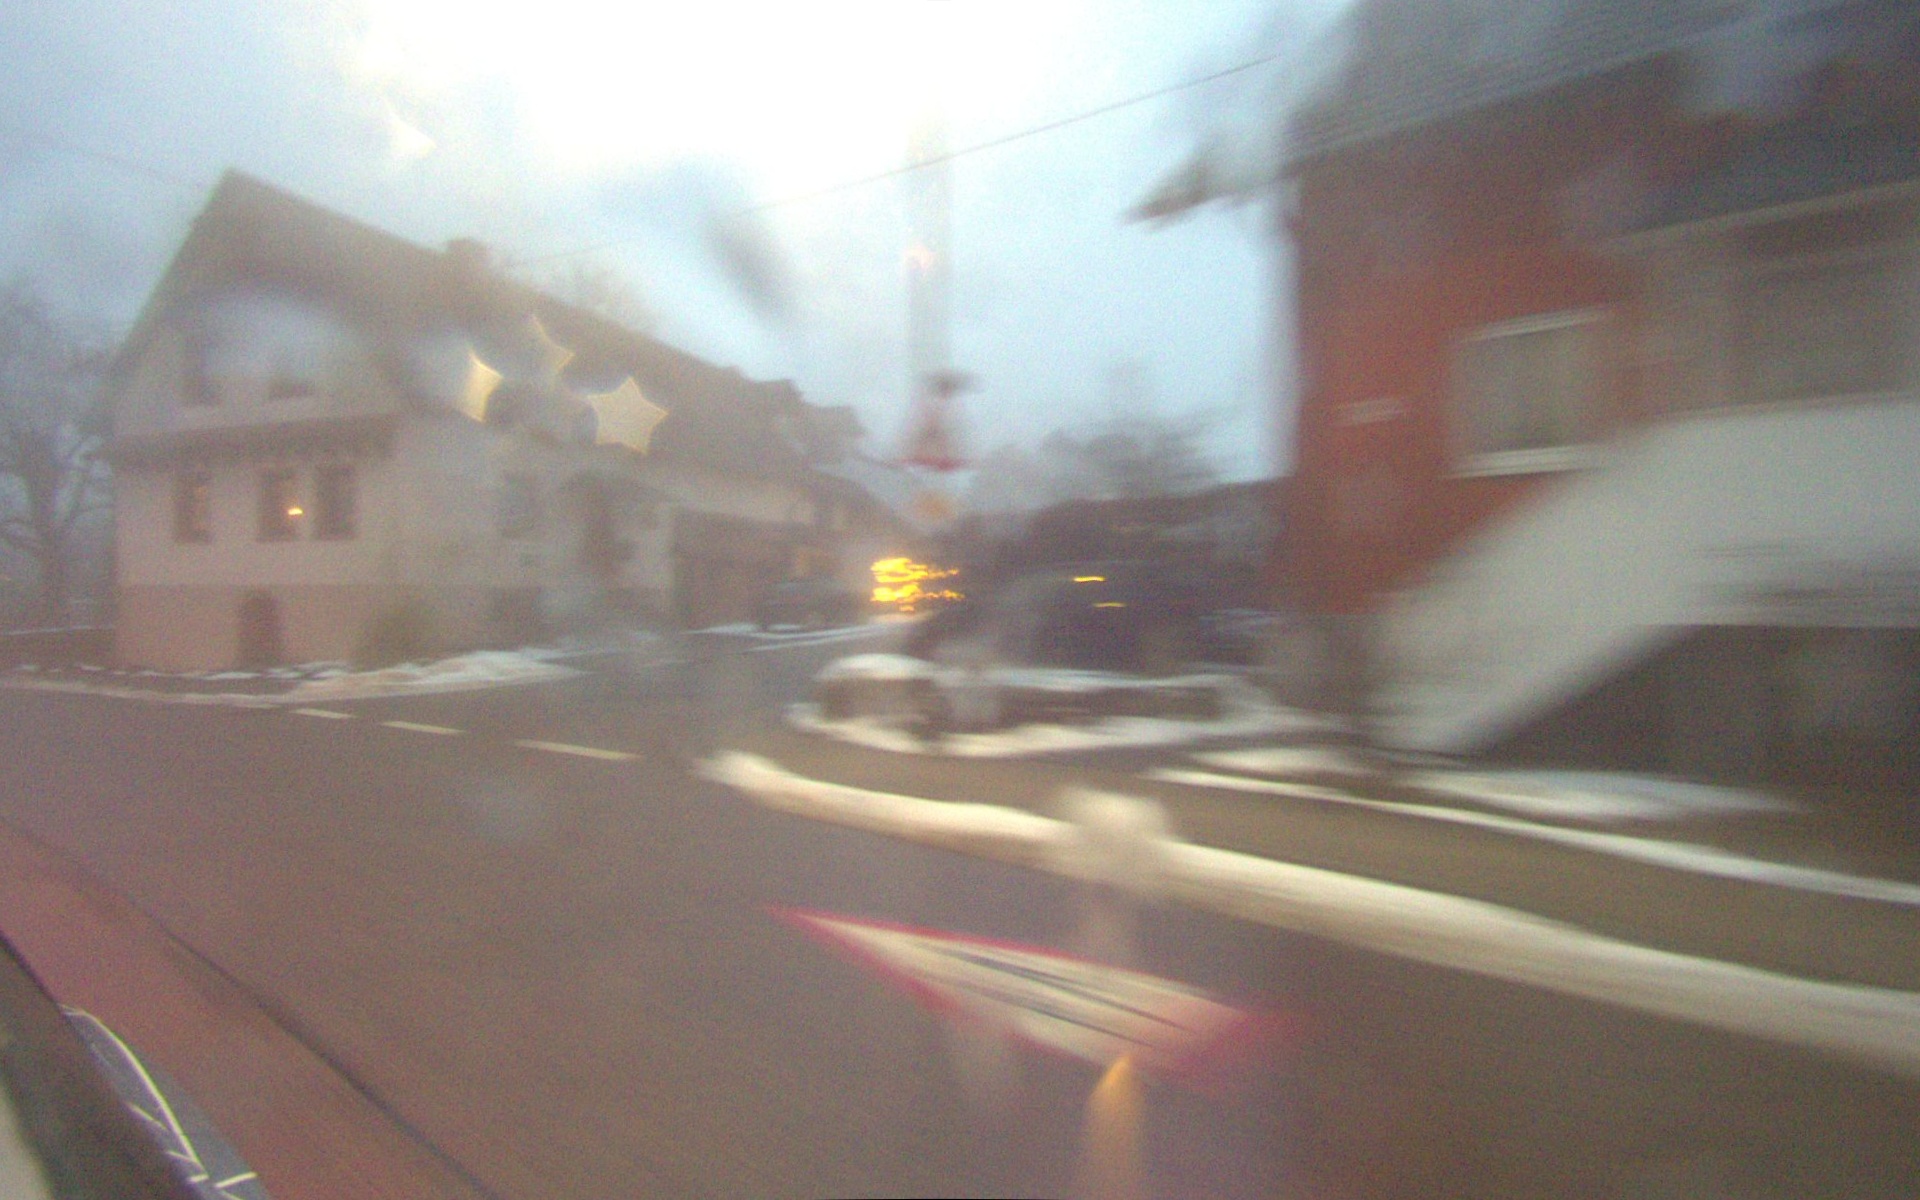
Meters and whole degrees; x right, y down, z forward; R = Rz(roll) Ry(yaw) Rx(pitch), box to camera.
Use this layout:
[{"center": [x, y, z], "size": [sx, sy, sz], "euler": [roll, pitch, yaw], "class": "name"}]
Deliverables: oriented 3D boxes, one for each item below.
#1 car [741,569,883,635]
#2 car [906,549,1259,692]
[{"center": [-3.756, -0.007, 26.398], "size": [1.985, 1.541, 3.973], "euler": [0, 2, 20], "class": "car"}, {"center": [1.529, 0.205, 12.210], "size": [3.966, 1.515, 1.869], "euler": [0, 2, 18], "class": "car"}]
